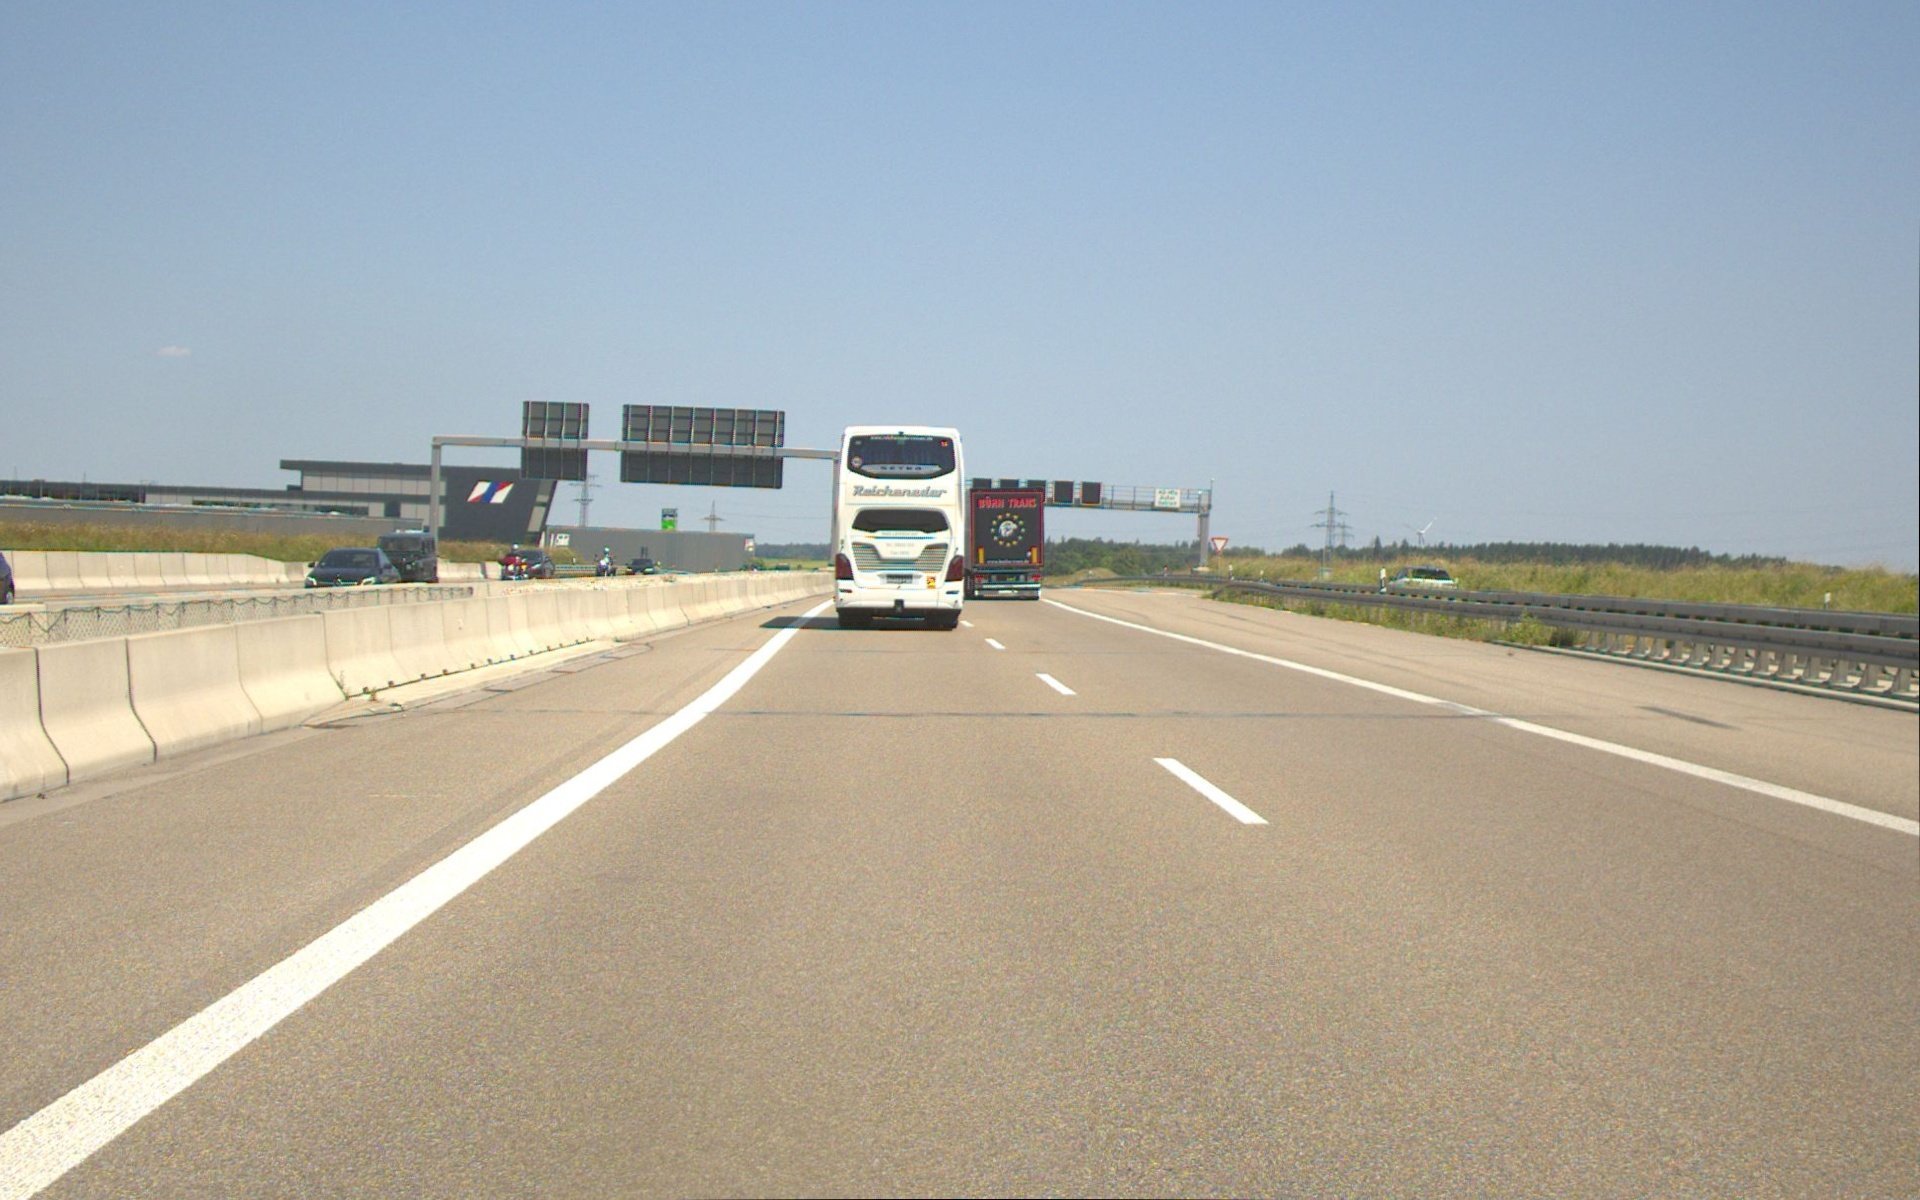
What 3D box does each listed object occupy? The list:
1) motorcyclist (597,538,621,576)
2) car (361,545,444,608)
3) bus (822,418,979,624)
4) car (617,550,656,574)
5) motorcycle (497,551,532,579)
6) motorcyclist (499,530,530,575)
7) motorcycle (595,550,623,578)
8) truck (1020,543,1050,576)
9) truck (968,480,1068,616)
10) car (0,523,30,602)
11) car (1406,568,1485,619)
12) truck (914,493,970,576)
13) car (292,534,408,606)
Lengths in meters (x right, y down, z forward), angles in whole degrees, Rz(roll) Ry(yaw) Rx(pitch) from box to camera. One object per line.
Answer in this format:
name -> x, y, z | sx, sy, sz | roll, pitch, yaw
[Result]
motorcyclist -> -15.224, -1.872, 149.143 | 0.920, 1.616, 1.088 | 1, 1, 0
car -> -18.392, -0.787, 113.606 | 1.885, 2.011, 4.735 | 1, 1, 1
bus -> -1.279, -1.635, 71.424 | 2.980, 3.961, 9.106 | 1, 1, -2
car -> -19.362, -2.285, 206.011 | 1.993, 1.374, 4.364 | 1, 1, -1
motorcycle -> -14.922, -1.177, 115.138 | 0.775, 0.899, 2.705 | 1, 1, 1
motorcyclist -> -14.929, -1.601, 115.188 | 0.918, 1.492, 0.923 | 1, 1, 0
motorcycle -> -15.241, -1.576, 149.321 | 0.958, 1.165, 2.723 | 1, 1, 0
truck -> 5.456, -2.953, 251.281 | 1.993, 2.335, 4.951 | 1, 1, -1
truck -> 2.187, -1.778, 126.605 | 3.379, 4.449, 13.565 | 1, -1, 1
car -> -18.530, -0.703, 62.954 | 1.910, 1.454, 4.285 | 1, 1, -1
car -> 15.374, -0.214, 109.134 | 1.891, 1.524, 4.262 | 1, 1, 0
truck -> -0.861, -3.056, 160.758 | 2.437, 3.776, 6.494 | 1, 1, -1
car -> -14.770, -0.745, 83.490 | 1.993, 1.663, 4.649 | 1, 1, 0
